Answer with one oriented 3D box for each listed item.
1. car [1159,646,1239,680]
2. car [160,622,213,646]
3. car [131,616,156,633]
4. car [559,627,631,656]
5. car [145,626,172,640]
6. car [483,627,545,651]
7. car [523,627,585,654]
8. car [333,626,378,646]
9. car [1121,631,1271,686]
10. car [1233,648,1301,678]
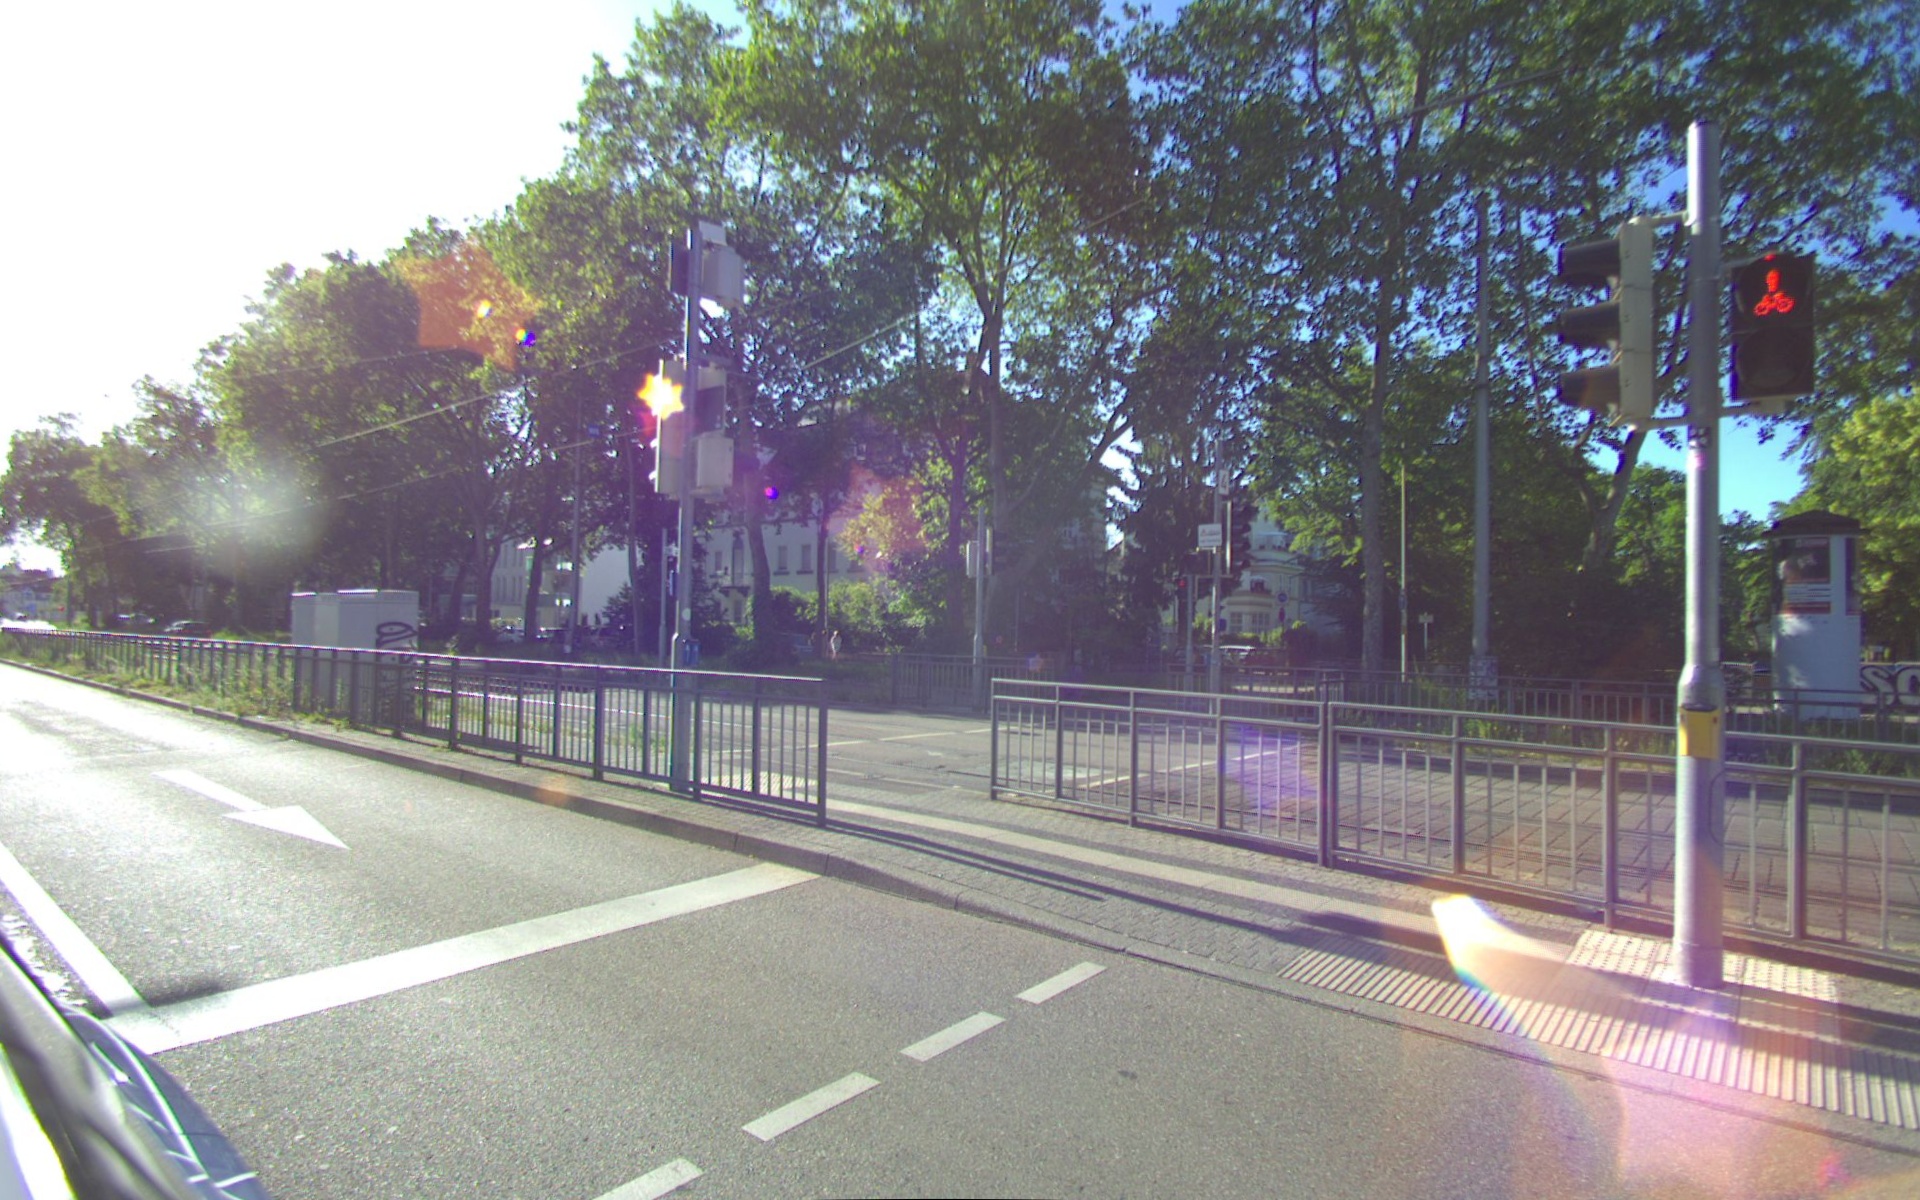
[{"bbox_3d":[11.118,2.884,46.940,1.999,1.429,3.945,-1,-2,41],"label":"car"},{"bbox_3d":[-50.281,2.174,65.753,4.337,1.510,1.667,-1,-2,38],"label":"car"},{"bbox_3d":[-97.855,2.946,121.325,1.970,2.029,4.003,-1,0,-44],"label":"car"},{"bbox_3d":[-19.303,2.182,53.385,4.317,1.451,1.717,-1,-3,42],"label":"car"},{"bbox_3d":[-90.211,3.733,113.855,3.687,1.497,1.748,-1,-3,42],"label":"car"},{"bbox_3d":[-26.206,2.277,59.399,4.459,1.334,1.623,-1,-4,42],"label":"car"},{"bbox_3d":[-22.620,2.243,56.353,3.696,1.476,1.756,-1,-3,42],"label":"car"},{"bbox_3d":[-45.652,2.691,76.431,3.999,1.484,1.778,-1,-3,42],"label":"car"},{"bbox_3d":[7.109,1.712,30.672,4.142,1.521,1.652,-1,-2,40],"label":"car"},{"bbox_3d":[16.141,3.256,53.092,1.999,1.429,3.945,-1,-2,41],"label":"car"}]
